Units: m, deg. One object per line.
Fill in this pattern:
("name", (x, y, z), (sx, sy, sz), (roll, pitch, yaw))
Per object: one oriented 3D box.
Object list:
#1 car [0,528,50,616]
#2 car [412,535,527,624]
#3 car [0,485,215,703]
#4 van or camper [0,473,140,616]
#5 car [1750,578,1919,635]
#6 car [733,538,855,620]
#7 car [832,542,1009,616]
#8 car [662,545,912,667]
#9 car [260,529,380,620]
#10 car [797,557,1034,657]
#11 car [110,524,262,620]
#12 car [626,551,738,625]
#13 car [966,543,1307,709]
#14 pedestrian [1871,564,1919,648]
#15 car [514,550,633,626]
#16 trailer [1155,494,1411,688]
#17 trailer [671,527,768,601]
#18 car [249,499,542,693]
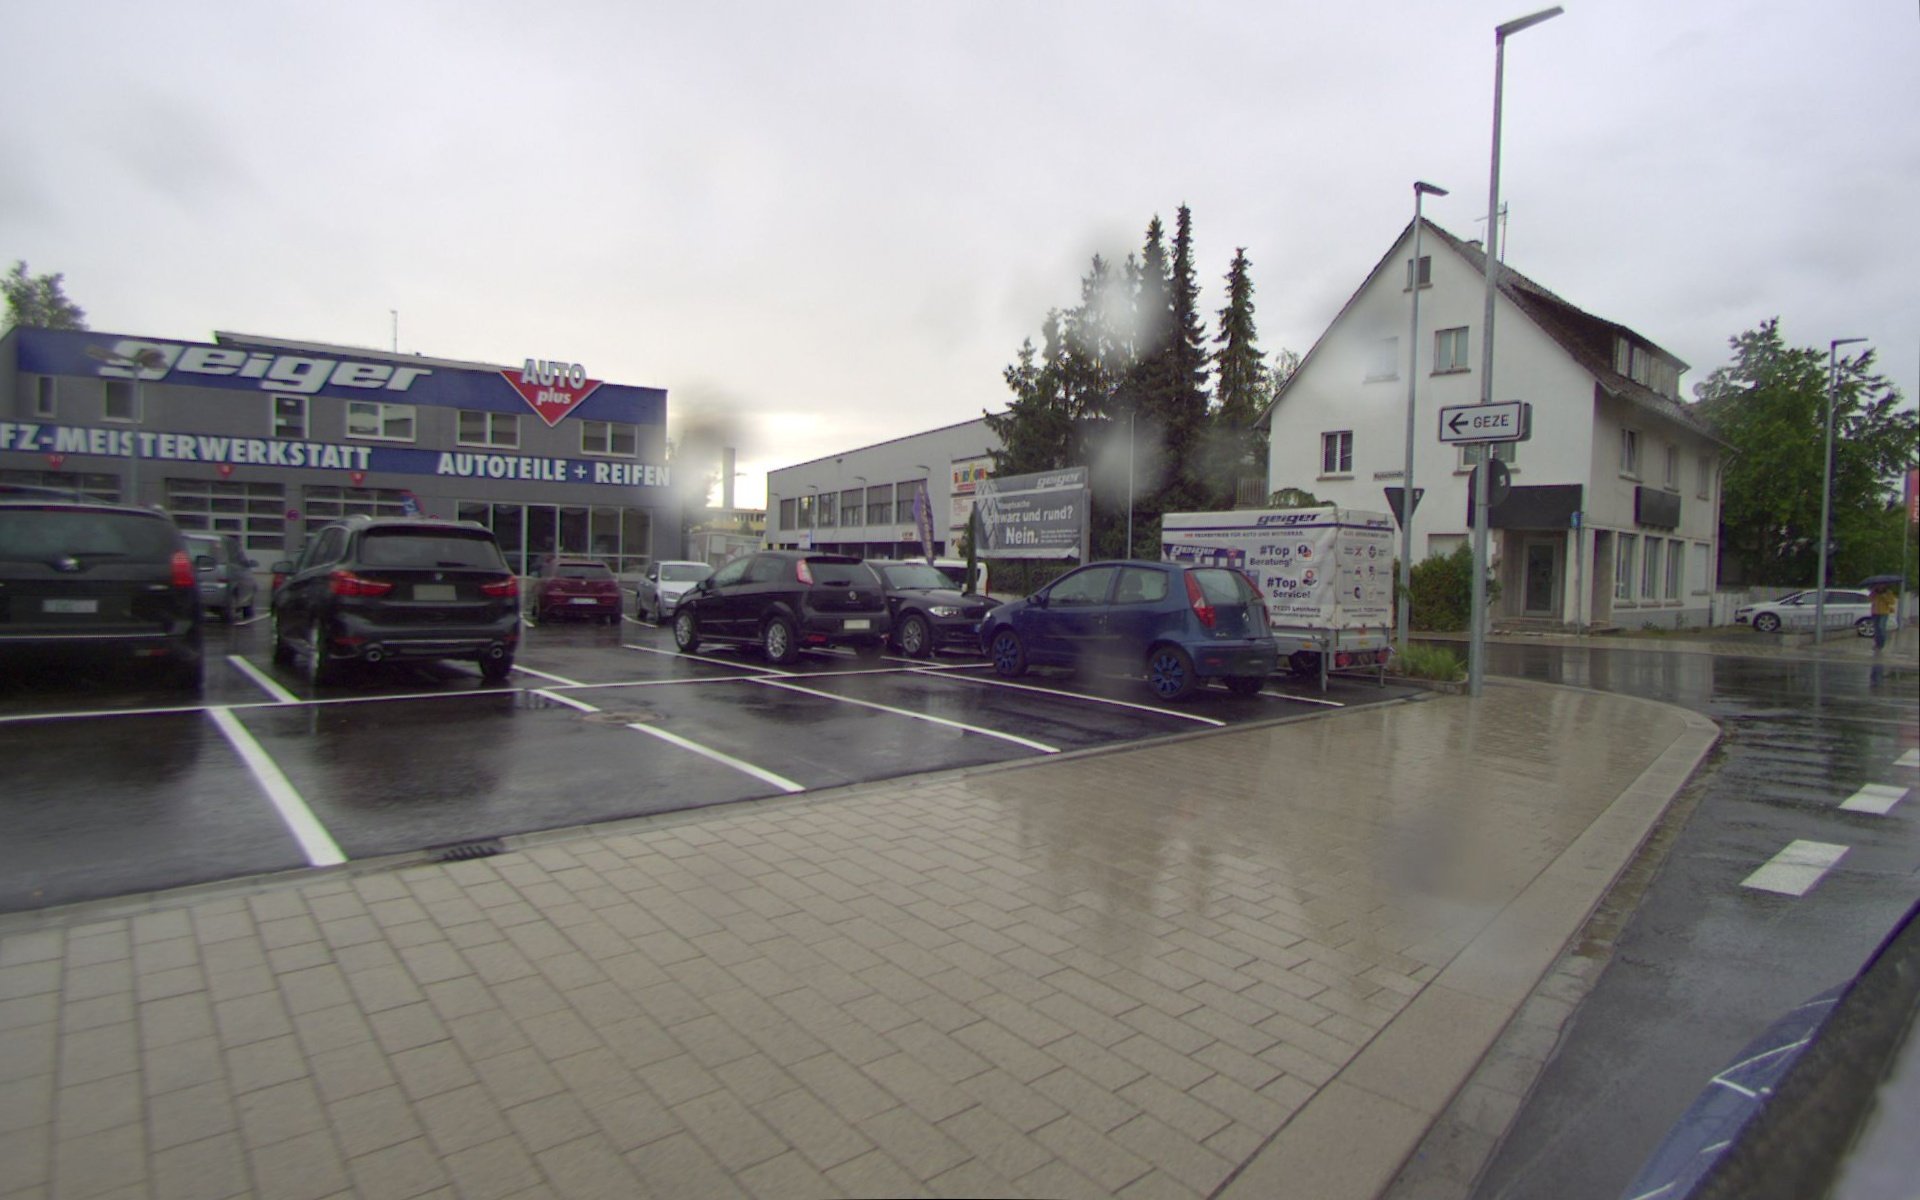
("car", (-21.707, -0.576, 21.937), (1.905, 1.839, 4.005), (-2, 0, -26))
("car", (-10.703, -0.502, 21.916), (1.828, 1.687, 4.146), (1, 3, -31))
("car", (-8.419, -0.151, 9.747), (1.754, 1.679, 4.366), (0, 3, -40))
("van or camper", (-16.963, -1.064, 18.749), (2.179, 2.354, 4.976), (1, 3, -33))
("car", (29.785, 0.180, 34.642), (4.118, 1.599, 1.975), (5, 3, 36))
("car", (-4.290, -0.601, 25.578), (1.854, 1.851, 4.501), (1, 3, -25))
("car", (-1.048, -0.560, 27.609), (4.401, 1.851, 1.896), (1, 3, -32))
("car", (-2.543, -0.007, 14.306), (1.702, 1.467, 3.730), (0, 3, -43))
("car", (-12.753, -0.573, 20.287), (1.828, 1.602, 4.375), (1, 3, -31))
("car", (-0.787, 0.038, 15.855), (1.665, 1.331, 3.730), (0, 3, -43))
("car", (-14.634, -0.597, 19.358), (1.828, 1.602, 4.375), (1, 3, -31))
("car", (-6.750, -0.337, 24.261), (1.826, 1.515, 4.150), (1, 3, -26))
("car", (1.913, 0.165, 11.841), (1.621, 1.547, 3.735), (-1, 4, -40))
("pedestrian", (23.983, 0.130, 25.809), (1.175, 2.037, 0.860), (0, 4, -43))
("car", (-9.007, -0.326, 23.378), (1.828, 1.515, 4.146), (1, 3, -31))
("trailer", (4.080, -0.148, 13.009), (1.520, 2.198, 2.709), (1, 2, -38))
("trailer", (-10.187, -1.444, 42.416), (2.875, 2.770, 5.898), (-2, 0, -24))
("car", (-6.257, -0.138, 10.955), (1.813, 1.672, 4.362), (0, 3, -42))
